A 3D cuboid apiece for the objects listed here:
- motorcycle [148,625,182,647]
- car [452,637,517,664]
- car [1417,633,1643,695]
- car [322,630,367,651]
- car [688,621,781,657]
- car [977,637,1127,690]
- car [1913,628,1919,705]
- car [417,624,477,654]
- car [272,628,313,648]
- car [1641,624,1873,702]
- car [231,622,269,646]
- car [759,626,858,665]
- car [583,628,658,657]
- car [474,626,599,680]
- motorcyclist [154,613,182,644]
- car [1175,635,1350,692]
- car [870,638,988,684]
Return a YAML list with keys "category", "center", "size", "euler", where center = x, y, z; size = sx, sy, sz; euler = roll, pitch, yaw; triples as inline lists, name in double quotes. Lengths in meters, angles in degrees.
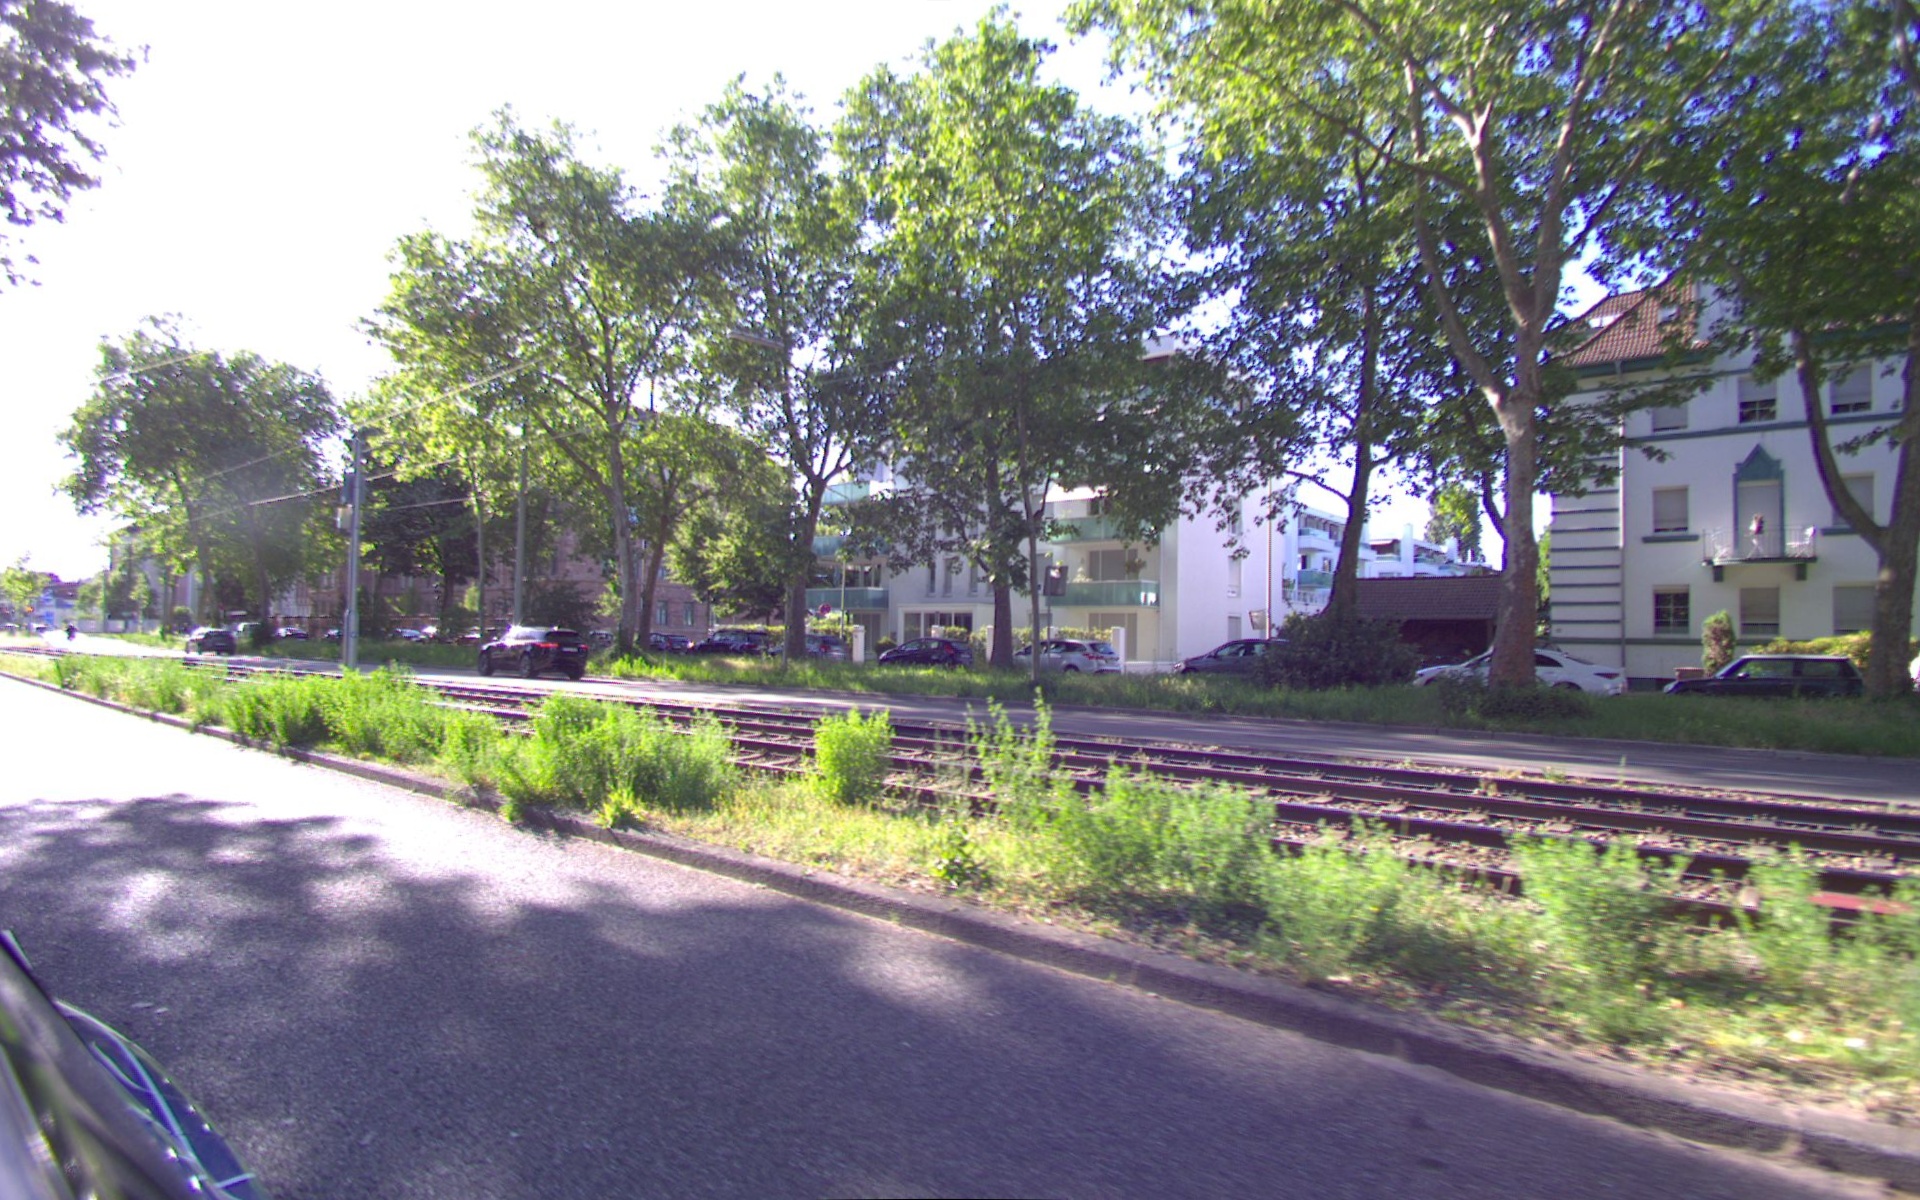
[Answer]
- category: "motorcycle"
  center: [-75.538, 3.392, 96.139]
  size: [3.996, 2.073, 1.707]
  euler: [-1, -3, 39]
- category: "car"
  center: [-27.896, 2.956, 59.348]
  size: [3.998, 1.497, 1.973]
  euler: [-1, -3, 41]
- category: "car"
  center: [13.453, 1.485, 24.050]
  size: [4.458, 1.334, 1.623]
  euler: [-1, -5, 41]
- category: "car"
  center: [-44.733, 2.946, 73.527]
  size: [3.686, 1.497, 1.748]
  euler: [-1, -3, 41]
- category: "car"
  center: [-9.859, 1.691, 44.139]
  size: [3.998, 1.497, 1.973]
  euler: [-1, -3, 41]
- category: "car"
  center: [2.967, 2.028, 33.174]
  size: [4.653, 1.603, 1.972]
  euler: [-1, -3, 41]
- category: "car"
  center: [20.241, 1.247, 18.271]
  size: [4.316, 1.451, 1.717]
  euler: [-1, -3, 41]
- category: "car"
  center: [-32.180, 2.425, 63.469]
  size: [3.998, 1.863, 1.972]
  euler: [-1, -3, 41]
- category: "car"
  center: [-52.707, 2.993, 79.917]
  size: [3.686, 1.497, 1.748]
  euler: [-1, -3, 41]
- category: "car"
  center: [16.680, 1.270, 21.308]
  size: [3.695, 1.476, 1.756]
  euler: [-1, -3, 41]
- category: "car"
  center: [-61.142, 2.957, 87.105]
  size: [1.971, 2.029, 4.002]
  euler: [3, -3, -45]
- category: "car"
  center: [-6.135, 1.810, 40.774]
  size: [3.998, 1.484, 1.778]
  euler: [-1, -3, 41]
- category: "car"
  center: [-17.801, 2.209, 52.949]
  size: [3.998, 1.497, 1.973]
  euler: [-1, -3, 41]
- category: "car"
  center: [-13.953, 1.724, 33.231]
  size: [4.456, 1.660, 1.839]
  euler: [-1, -5, 39]
- category: "motorcyclist"
  center: [-75.046, 2.688, 95.855]
  size: [1.680, 2.944, 1.724]
  euler: [-2, -3, 42]
- category: "car"
  center: [8.472, 1.746, 28.574]
  size: [4.316, 1.464, 1.972]
  euler: [-1, -3, 41]
- category: "car"
  center: [-1.163, 2.149, 36.538]
  size: [3.998, 1.544, 1.973]
  euler: [-1, -3, 41]
